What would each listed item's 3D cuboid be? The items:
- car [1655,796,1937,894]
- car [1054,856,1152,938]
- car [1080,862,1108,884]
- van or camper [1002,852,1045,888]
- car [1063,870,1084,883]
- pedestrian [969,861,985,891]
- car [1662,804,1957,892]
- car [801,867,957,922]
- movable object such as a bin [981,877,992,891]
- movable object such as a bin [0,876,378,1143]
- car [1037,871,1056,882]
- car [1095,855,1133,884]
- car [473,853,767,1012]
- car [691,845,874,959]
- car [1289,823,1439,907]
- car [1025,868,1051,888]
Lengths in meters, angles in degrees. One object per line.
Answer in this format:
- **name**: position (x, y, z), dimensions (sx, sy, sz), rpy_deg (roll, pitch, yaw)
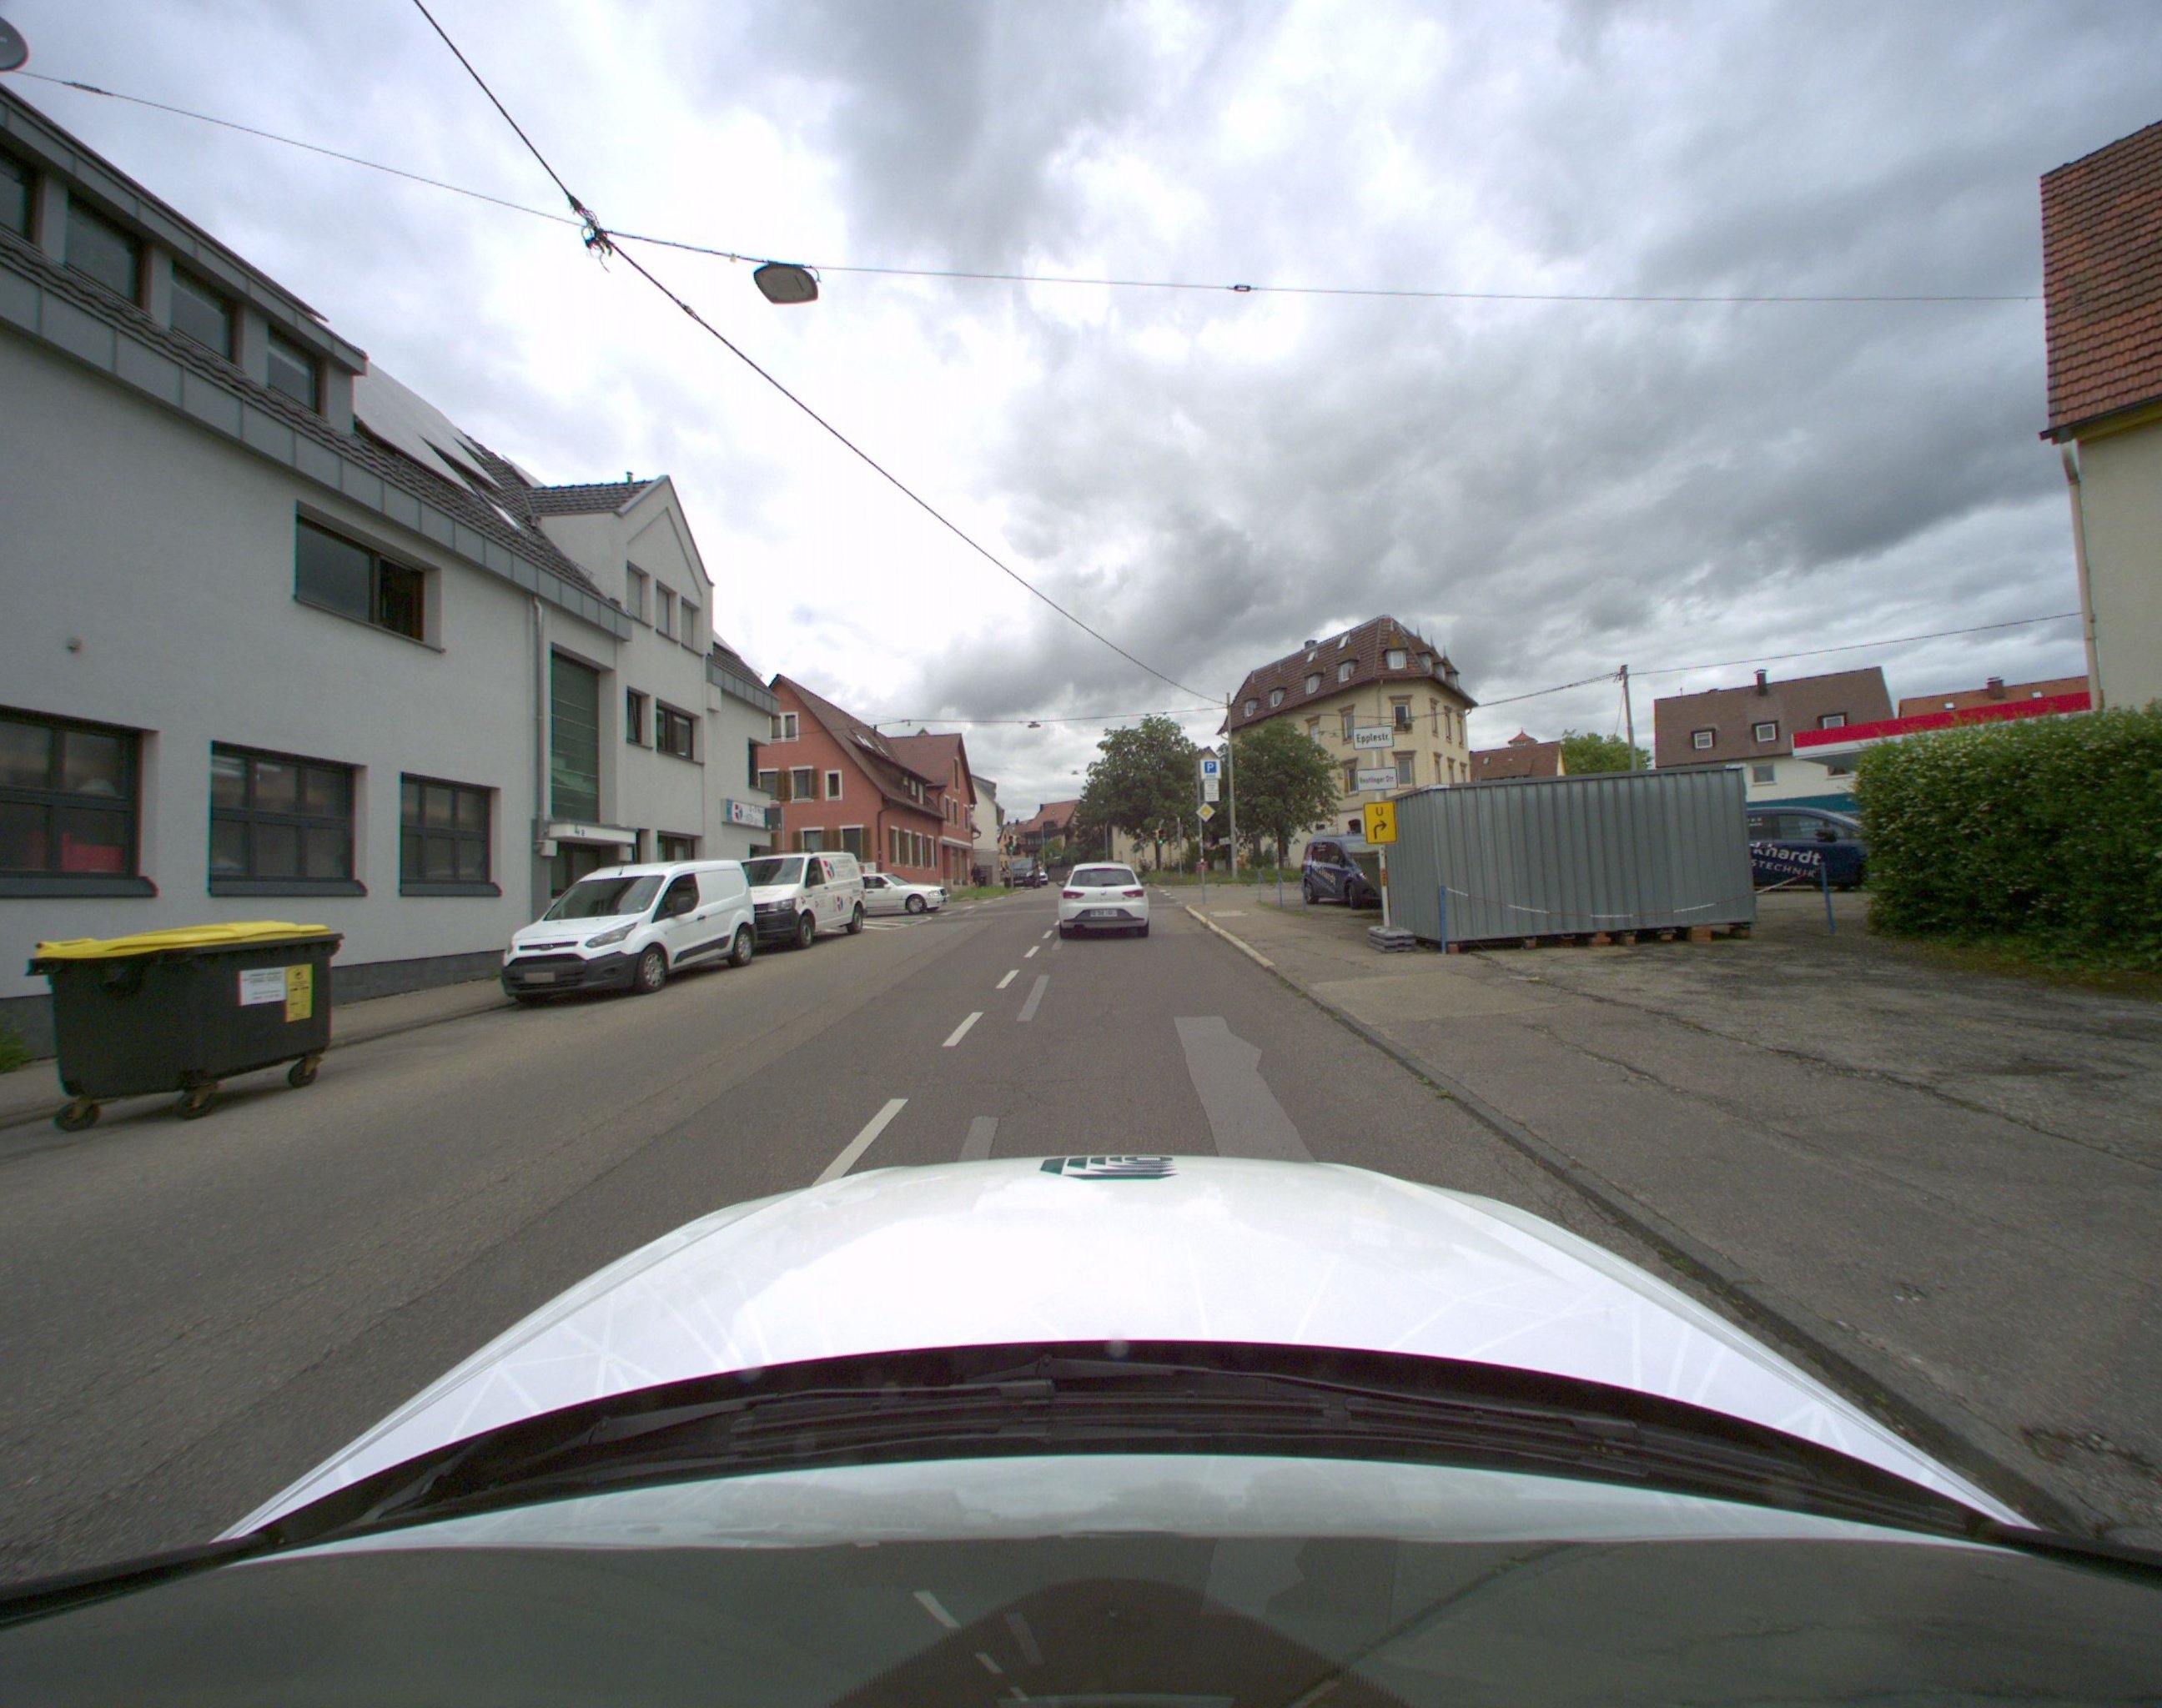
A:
- **car**: position (14.344, -0.128, 16.564), dimensions (1.877, 1.728, 3.957), rpy_deg (0, -1, -34)
- **car**: position (0.529, 0.808, 16.949), dimensions (1.751, 1.452, 4.004), rpy_deg (-2, -1, 4)
- **car**: position (0.925, 1.426, 60.282), dimensions (1.754, 1.452, 3.996), rpy_deg (-2, -2, -2)
- **van or camper**: position (-3.621, 1.072, 52.064), dimensions (2.066, 2.006, 4.858), rpy_deg (-4, -3, 1)
- **car**: position (-0.882, 2.709, 97.512), dimensions (1.760, 1.452, 3.982), rpy_deg (0, -3, -13)
- **pedestrian**: position (-6.480, 1.362, 50.676), dimensions (0.797, 1.785, 0.893), rpy_deg (-2, -1, 1)
- **car**: position (16.913, -0.079, 19.243), dimensions (1.908, 1.803, 4.847), rpy_deg (0, -1, -29)
- **car**: position (-6.659, 1.308, 27.183), dimensions (4.532, 1.445, 2.003), rpy_deg (-4, -1, 5)
- **movable object such as a bin**: position (-7.027, 2.243, 60.509), dimensions (0.664, 1.018, 0.795), rpy_deg (-3, -1, -2)
- **movable object such as a bin**: position (-6.537, 1.031, 6.107), dimensions (1.138, 1.633, 1.560), rpy_deg (-4, -1, -5)
- **car**: position (-5.022, 3.271, 116.602), dimensions (1.763, 1.452, 3.976), rpy_deg (-1, -2, -17)
- **car**: position (1.781, 0.885, 44.965), dimensions (1.754, 1.452, 3.995), rpy_deg (-2, -2, -3)
- **car**: position (-6.524, 0.984, 12.202), dimensions (1.727, 1.832, 4.299), rpy_deg (-4, -1, 2)
- **car**: position (-6.216, 0.912, 17.667), dimensions (1.804, 2.005, 4.768), rpy_deg (-4, -1, 4)
- **car**: position (6.860, 0.271, 20.316), dimensions (1.743, 1.739, 4.564), rpy_deg (-4, 0, -5)
- **car**: position (-3.787, 2.095, 71.428), dimensions (1.995, 1.633, 4.847), rpy_deg (-1, -2, -6)
